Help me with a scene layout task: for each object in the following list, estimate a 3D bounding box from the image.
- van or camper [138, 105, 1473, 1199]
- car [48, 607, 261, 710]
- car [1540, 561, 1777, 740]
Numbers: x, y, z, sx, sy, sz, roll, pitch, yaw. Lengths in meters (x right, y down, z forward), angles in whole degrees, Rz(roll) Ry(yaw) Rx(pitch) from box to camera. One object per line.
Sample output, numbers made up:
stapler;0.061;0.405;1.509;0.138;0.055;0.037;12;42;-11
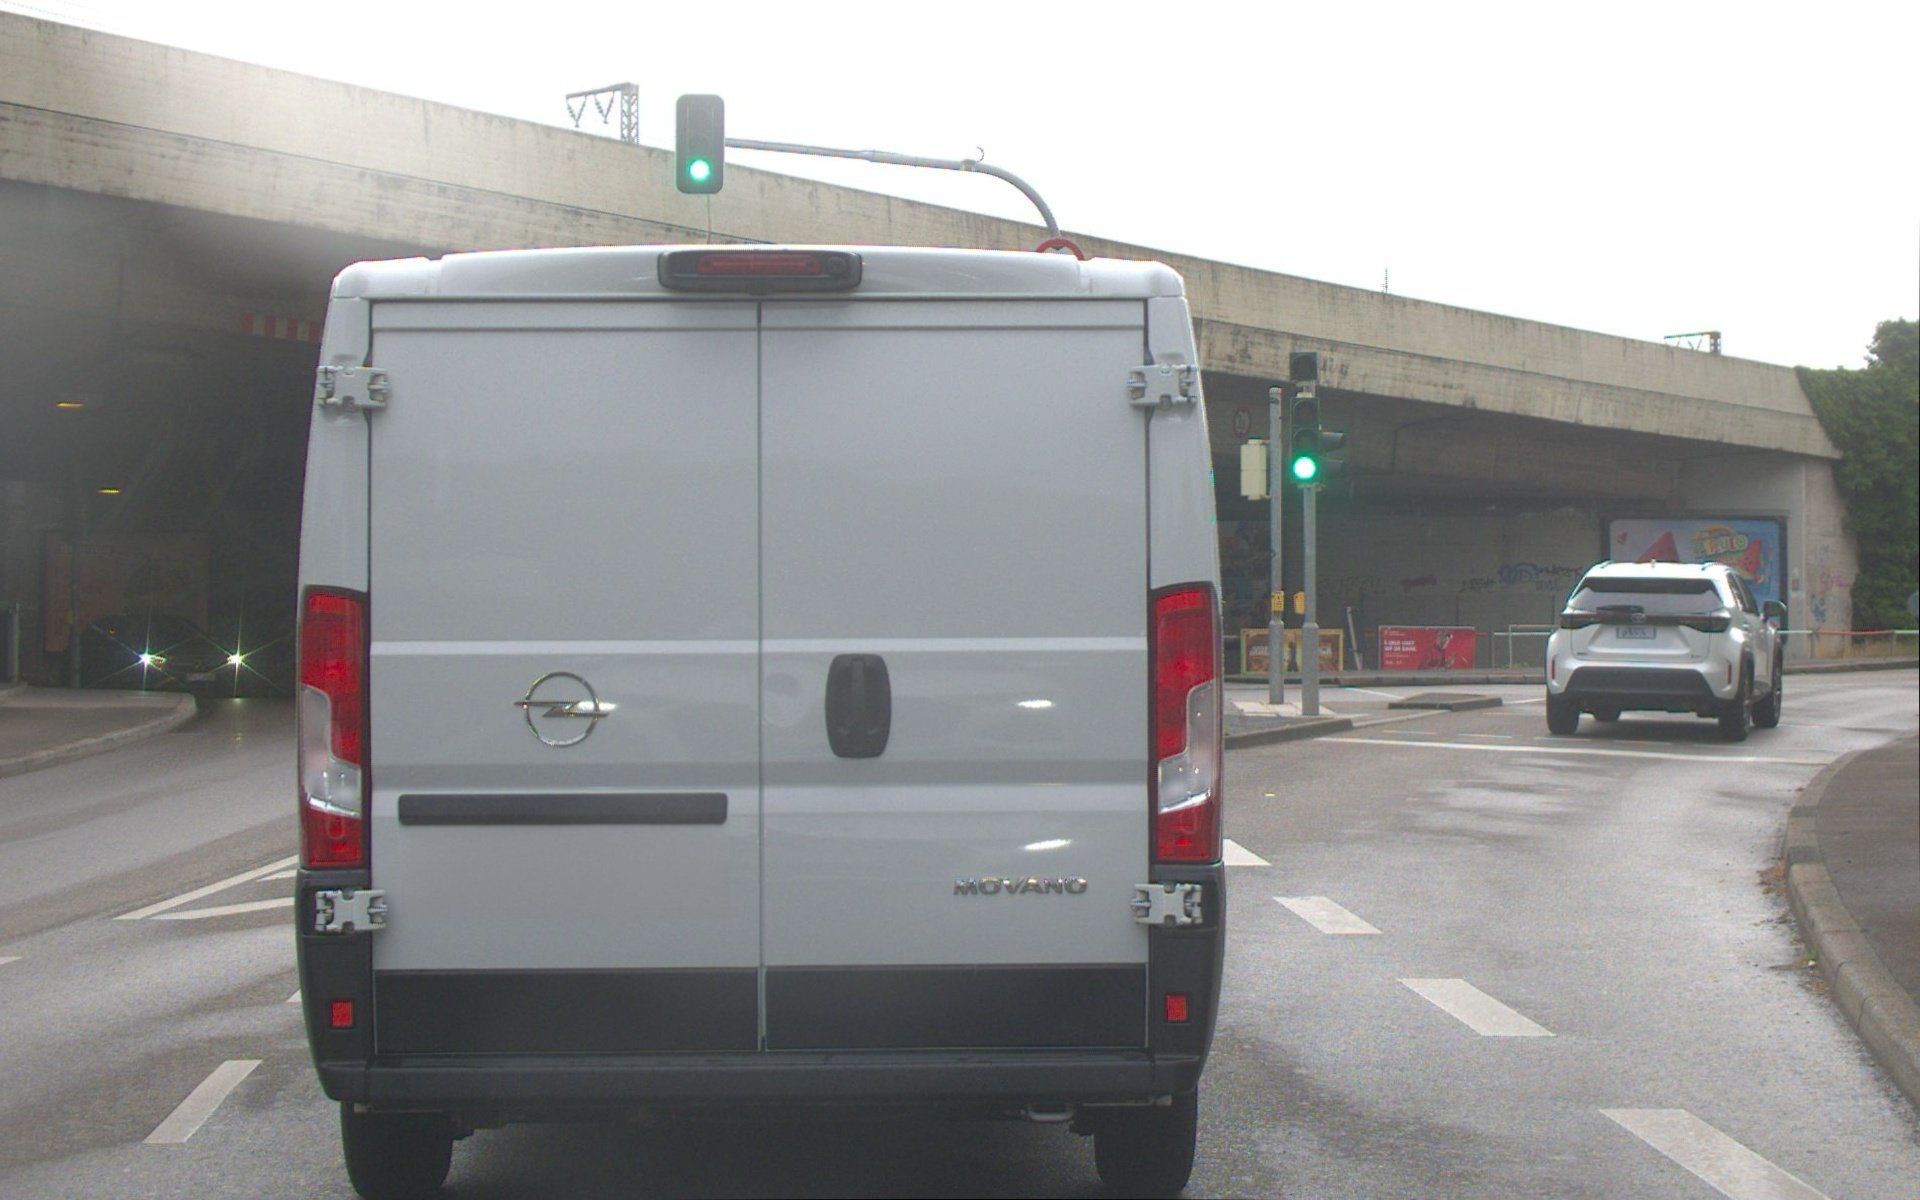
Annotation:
van or camper;-0.416;0.198;9.427;2.698;2.408;4.904;0;0;-3
car;-13.183;0.927;56.076;1.993;1.525;4.500;0;1;-33
car;6.475;0.422;31.598;1.877;1.525;3.997;0;0;15
